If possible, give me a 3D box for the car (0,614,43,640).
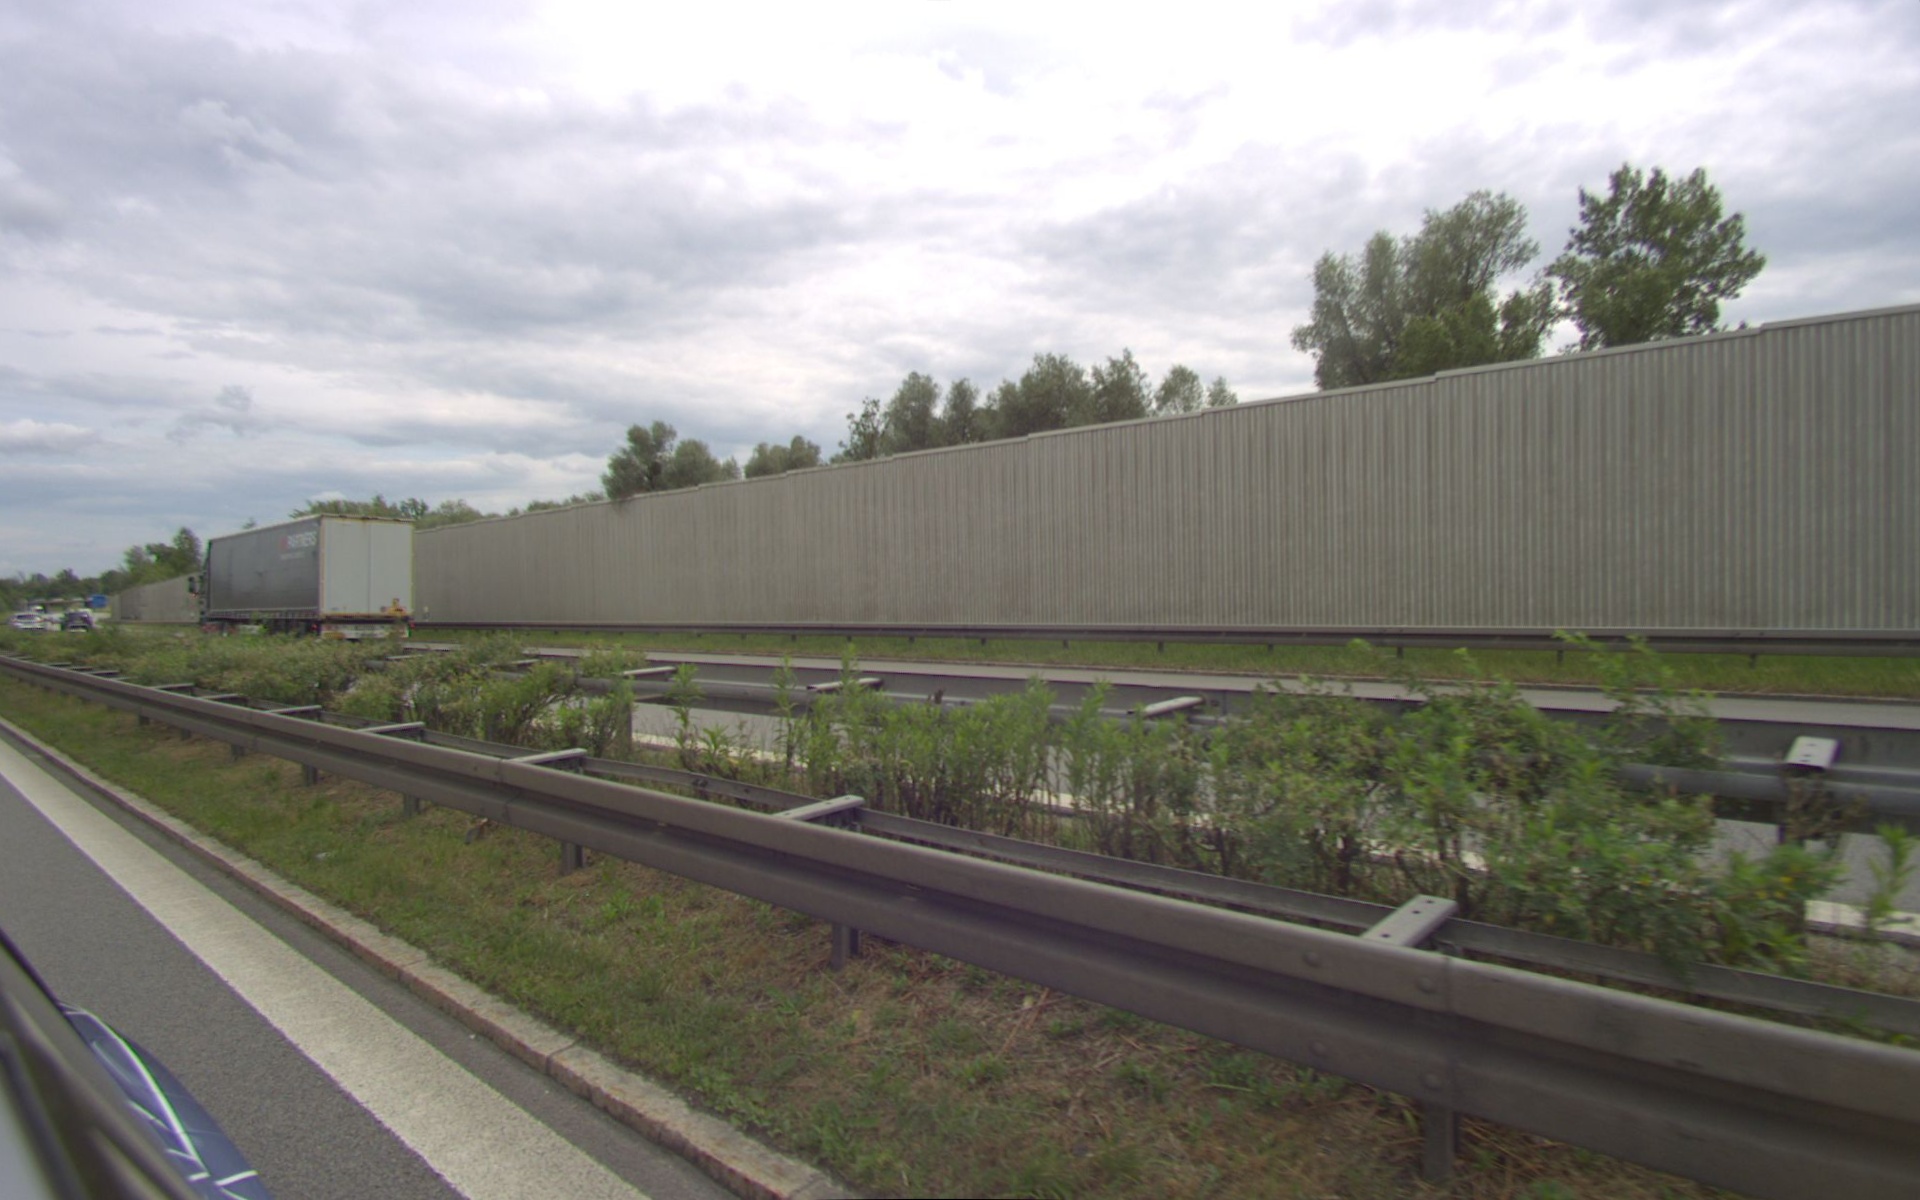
[{"bbox_3d":[-60.404,1.743,64.999,4.567,1.560,1.910,-2,-1,43],"label":"car"}]

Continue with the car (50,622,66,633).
[{"bbox_3d":[-149.047,4.512,167.130,1.721,1.758,4.630,0,-1,-45],"label":"car"}]

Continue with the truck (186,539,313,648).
[{"bbox_3d":[-27.554,-0.169,39.145,6.075,3.888,2.842,-1,-1,43],"label":"truck"}]

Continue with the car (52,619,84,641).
[{"bbox_3d":[-70.070,2.347,79.481,1.695,1.654,4.708,-1,-1,-44],"label":"car"}]

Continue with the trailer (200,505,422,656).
[{"bbox_3d":[-22.583,-0.436,34.568,14.178,4.272,2.949,-1,-1,43],"label":"trailer"}]
